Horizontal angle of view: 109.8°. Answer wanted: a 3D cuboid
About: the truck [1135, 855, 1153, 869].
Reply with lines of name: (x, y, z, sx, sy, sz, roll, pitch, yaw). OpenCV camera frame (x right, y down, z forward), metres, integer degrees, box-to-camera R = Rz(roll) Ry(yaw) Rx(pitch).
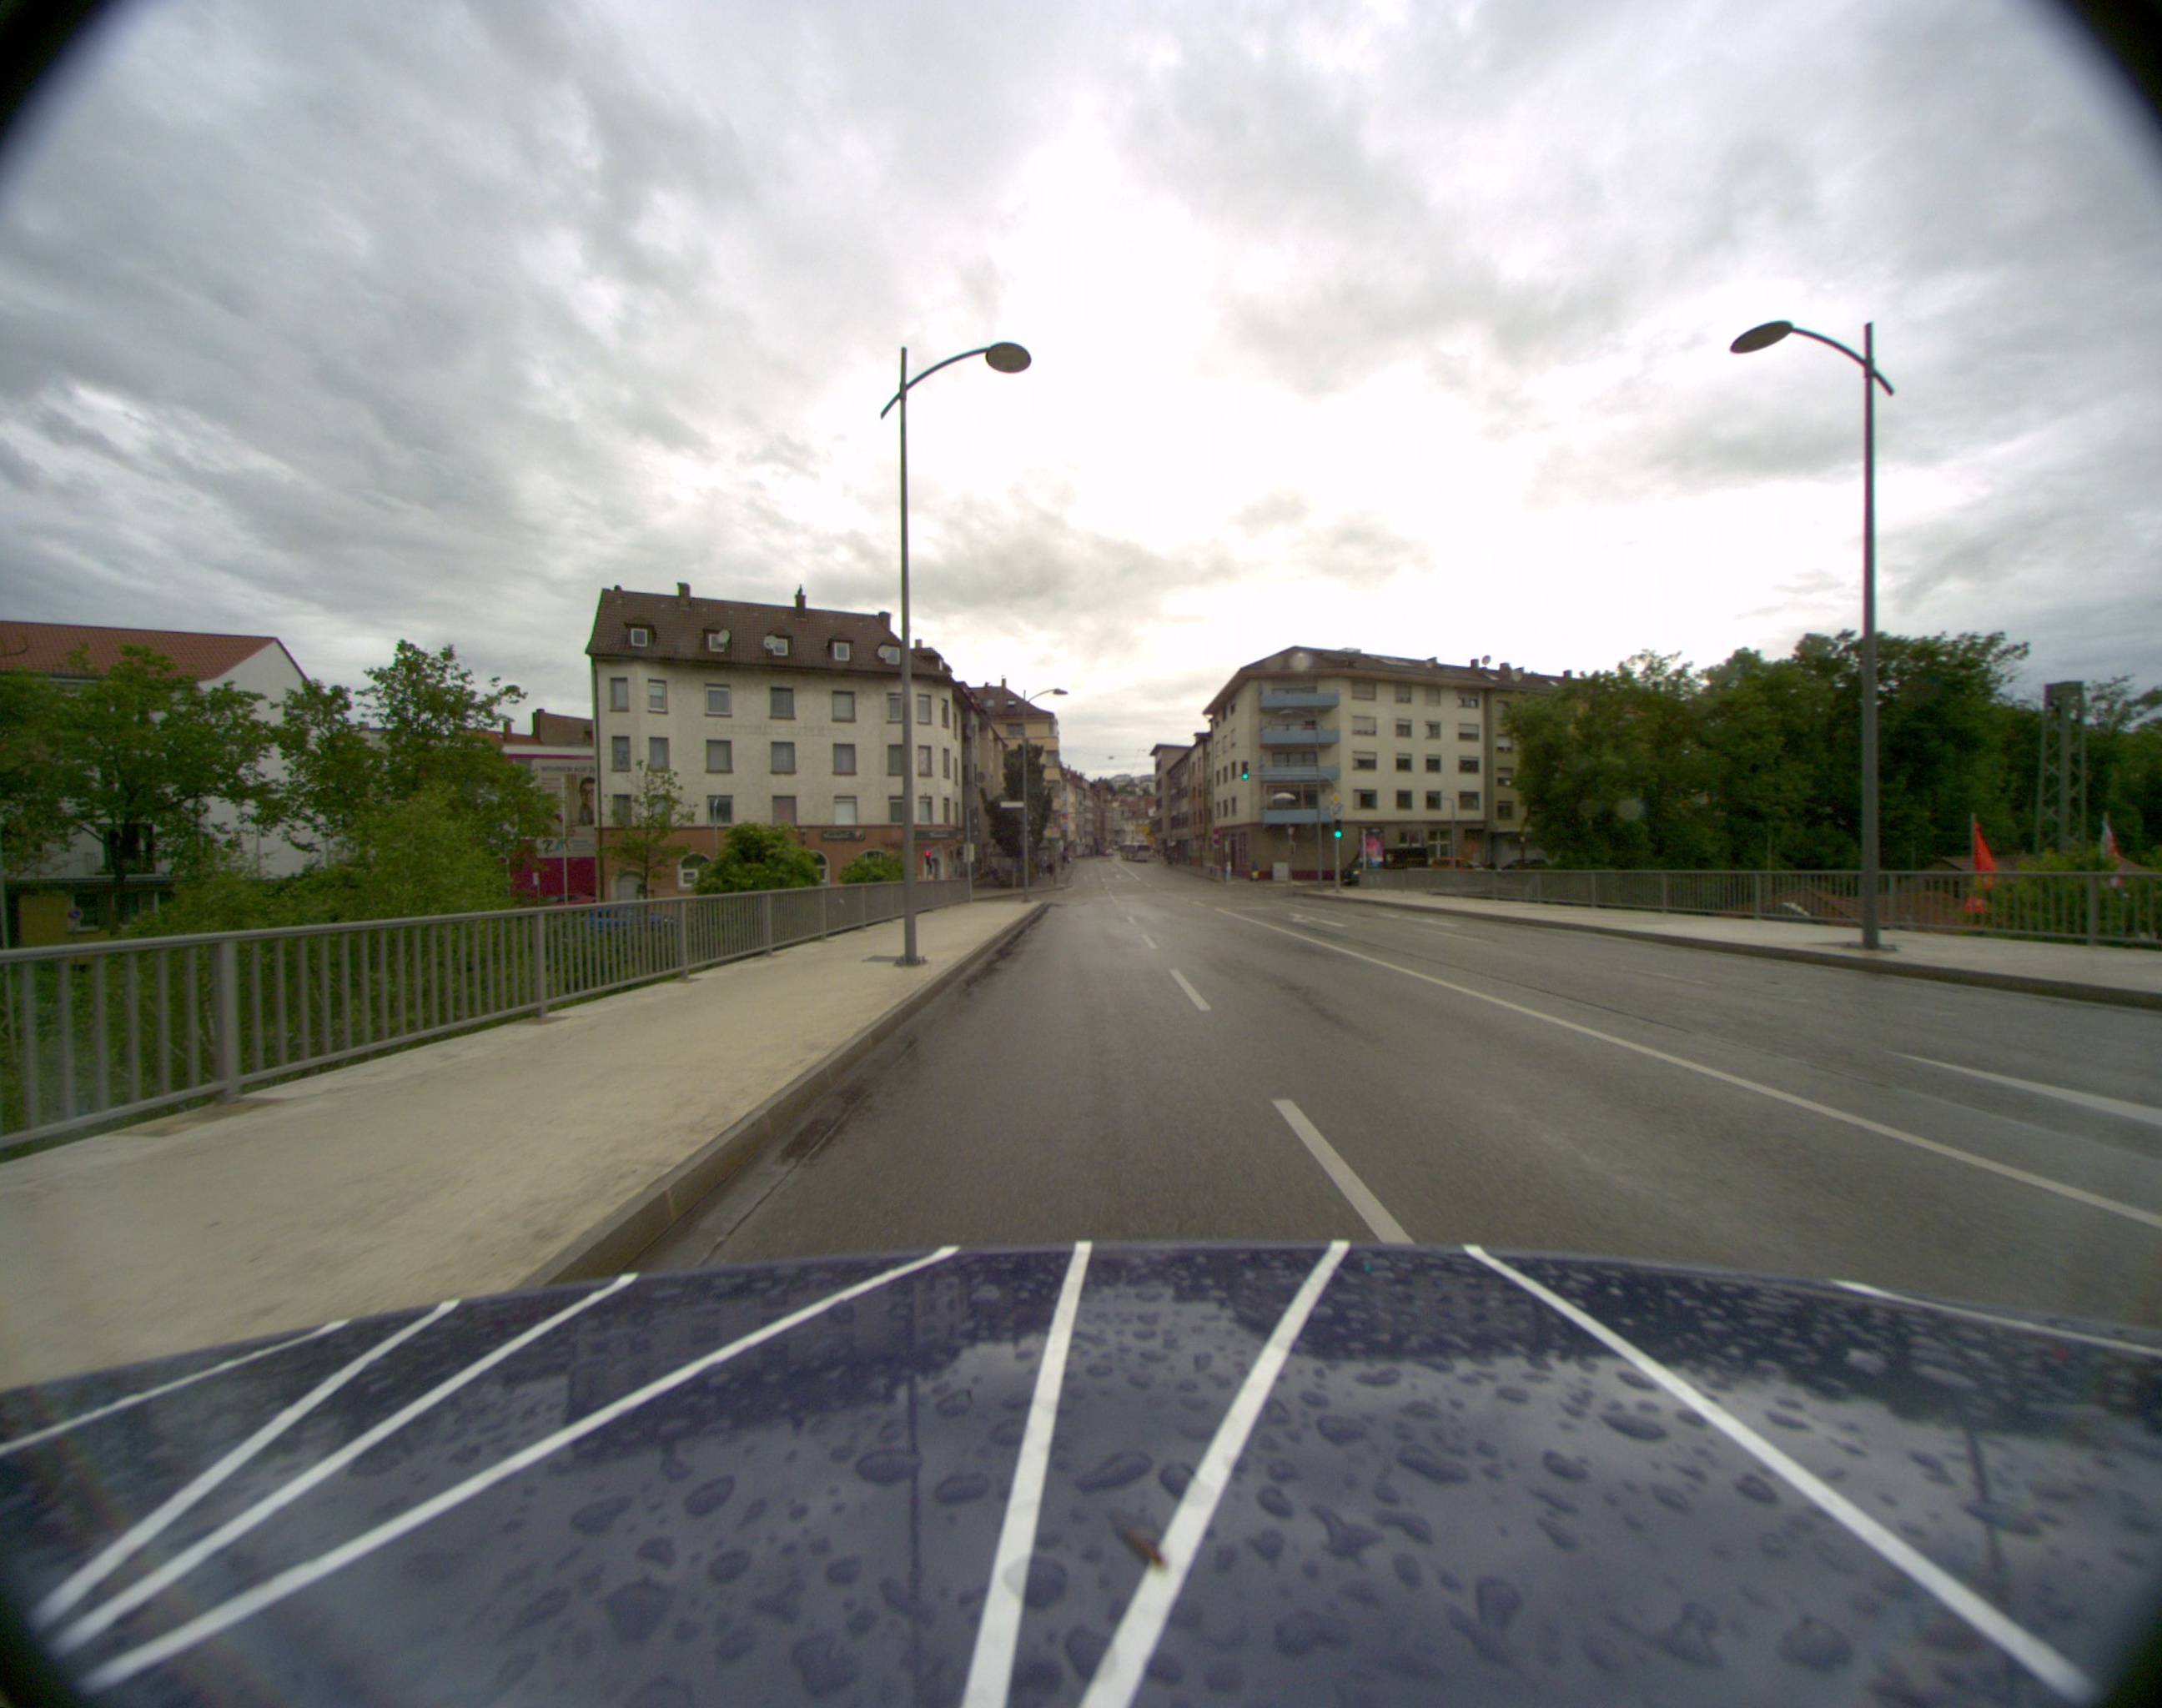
truck: (10.154, 1.311, 122.533, 2.475, 2.002, 4.819, -2, 1, 1)

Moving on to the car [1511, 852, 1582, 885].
car: (30.936, 0.927, 50.447, 4.361, 2.002, 2.130, -2, 1, -29)

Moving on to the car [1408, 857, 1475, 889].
car: (25.659, 1.325, 54.103, 4.361, 2.002, 2.130, -2, 1, -29)

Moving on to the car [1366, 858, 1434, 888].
car: (23.791, 1.372, 56.653, 4.359, 2.002, 2.131, -2, 0, -20)

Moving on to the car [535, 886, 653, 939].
car: (-21.923, 2.580, 34.387, 4.002, 2.002, 1.997, -2, 1, -16)
